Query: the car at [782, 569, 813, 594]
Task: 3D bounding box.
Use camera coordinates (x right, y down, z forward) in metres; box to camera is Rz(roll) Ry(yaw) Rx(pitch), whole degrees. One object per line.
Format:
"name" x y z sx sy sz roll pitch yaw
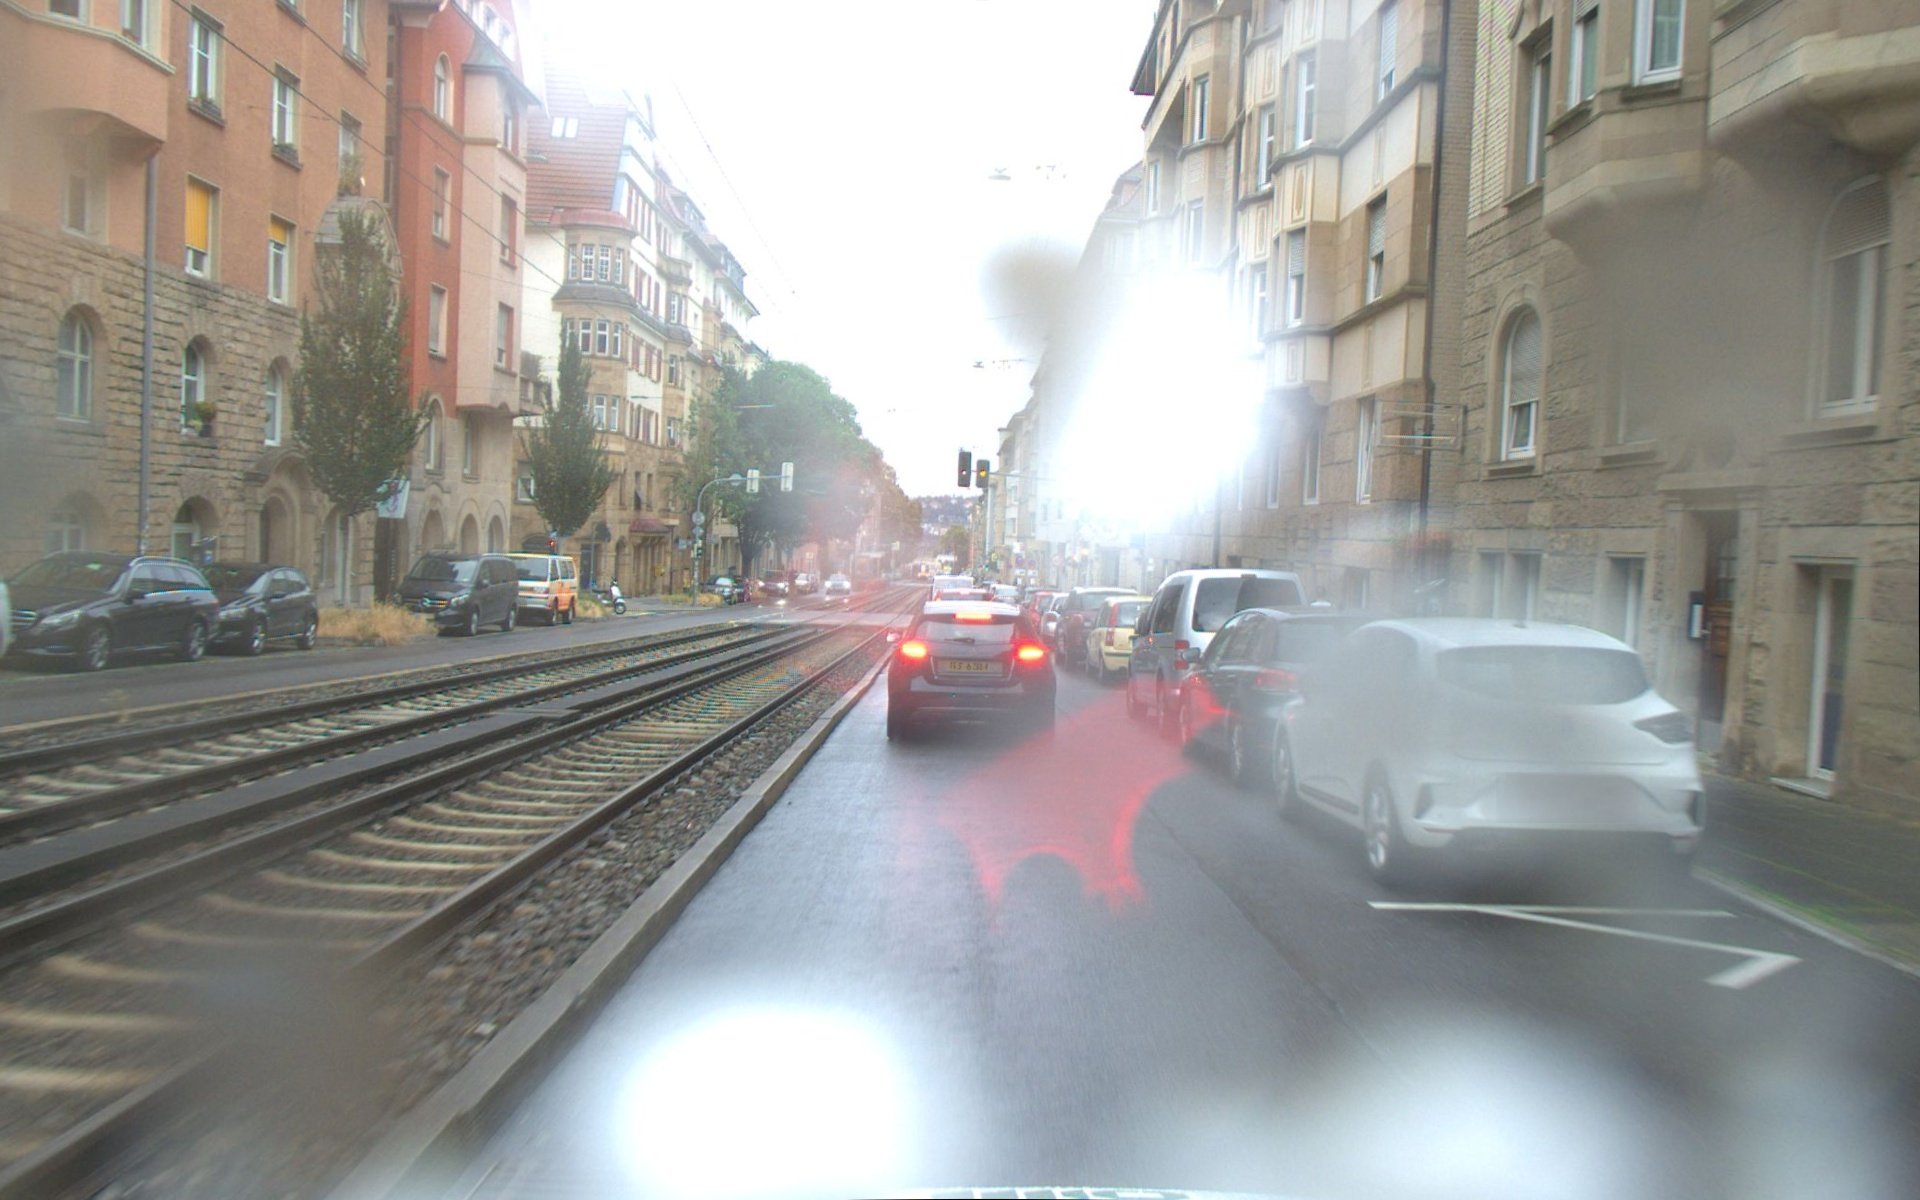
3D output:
"car" -12.718 -1.470 129.920 1.953 1.825 4.000 2 1 0

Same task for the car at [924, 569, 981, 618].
"car" -0.320 -0.270 61.088 1.883 1.684 3.998 2 1 -3

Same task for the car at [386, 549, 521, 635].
"car" -12.144 -0.206 39.961 1.953 1.934 4.697 1 0 -2

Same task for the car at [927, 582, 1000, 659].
"car" 0.081 0.408 37.443 1.504 1.536 4.000 2 1 0

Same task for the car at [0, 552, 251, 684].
"car" -11.962 0.177 23.032 1.953 1.535 4.974 4 1 0

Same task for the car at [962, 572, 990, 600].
"car" 1.047 -0.926 111.390 1.815 1.829 3.811 1 0 0

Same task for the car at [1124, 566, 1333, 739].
"car" 3.058 0.527 19.700 1.738 1.807 4.360 1 1 0

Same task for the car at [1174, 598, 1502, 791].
"car" 3.225 0.737 14.957 1.953 1.466 3.999 1 0 -1

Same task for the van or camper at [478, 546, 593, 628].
"van or camper" -12.152 -0.378 47.657 1.956 1.932 4.697 -10 1 -2

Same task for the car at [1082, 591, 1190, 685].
"car" 3.117 0.643 29.838 1.527 1.504 3.461 3 1 0

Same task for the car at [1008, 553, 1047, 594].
"car" 3.583 -1.379 88.148 1.859 2.063 4.176 1 0 0

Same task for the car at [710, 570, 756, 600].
"car" -12.534 -0.850 91.722 1.953 1.544 4.000 2 1 0

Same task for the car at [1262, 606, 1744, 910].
"car" 3.136 0.816 10.432 1.642 1.435 3.999 2 1 -1

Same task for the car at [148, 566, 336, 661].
"car" -12.027 0.183 27.954 1.609 1.422 3.882 2 1 -3

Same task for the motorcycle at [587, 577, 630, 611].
"motorcycle" -12.363 -0.206 58.143 1.410 1.154 0.619 2 0 29

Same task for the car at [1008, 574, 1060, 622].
"car" 2.482 -0.087 56.320 1.517 1.534 4.000 3 1 0

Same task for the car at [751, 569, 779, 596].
"car" -13.258 -1.205 112.644 1.755 1.721 3.995 2 0 -6

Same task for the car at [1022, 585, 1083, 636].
"car" 2.834 0.303 51.229 1.570 1.443 3.148 2 1 -2

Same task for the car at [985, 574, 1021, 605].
"car" 2.579 -0.608 99.639 1.733 1.807 3.997 1 0 -4

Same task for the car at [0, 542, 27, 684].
"car" -11.813 0.168 17.196 1.748 1.617 4.351 0 1 0

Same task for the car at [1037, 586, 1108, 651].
"car" 2.954 0.462 44.058 1.604 1.569 3.466 3 1 0

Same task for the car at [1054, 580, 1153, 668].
"car" 2.922 0.449 34.316 1.675 1.656 4.000 2 1 0

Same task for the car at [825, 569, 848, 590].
"car" -9.702 -1.620 130.371 1.760 1.575 3.997 2 0 -4

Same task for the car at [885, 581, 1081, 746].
"car" 0.188 0.632 18.177 1.906 1.592 3.641 1 0 -2

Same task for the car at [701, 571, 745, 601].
"car" -12.357 -0.739 86.402 1.735 1.489 4.000 1 0 0
